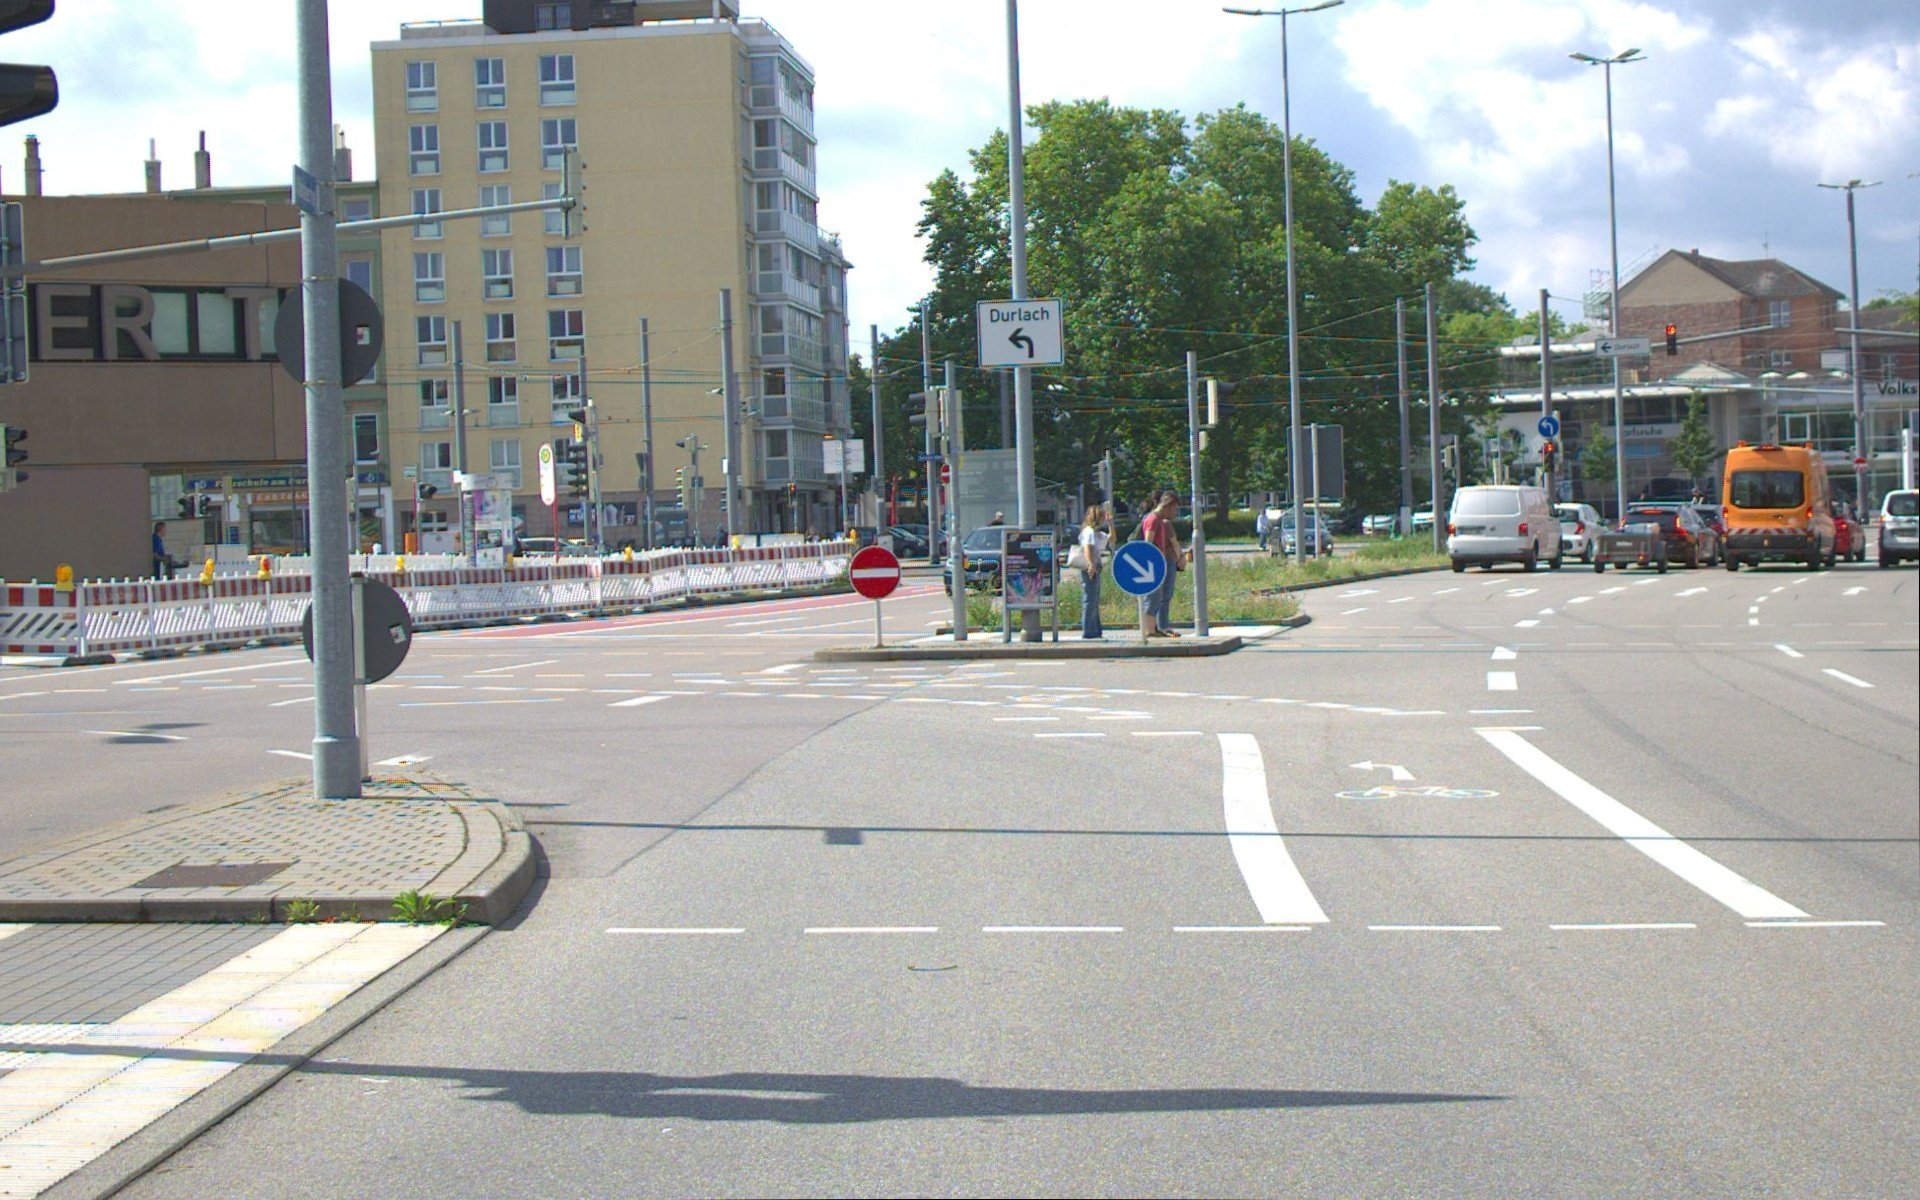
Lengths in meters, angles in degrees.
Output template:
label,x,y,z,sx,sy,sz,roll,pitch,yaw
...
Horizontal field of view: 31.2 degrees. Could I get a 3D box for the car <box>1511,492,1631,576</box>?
label,x,y,z,sx,sy,sz,roll,pitch,yaw
car,15.285,-1.672,85.831,1.993,1.932,4.634,-2,1,22

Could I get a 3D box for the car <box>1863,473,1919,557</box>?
label,x,y,z,sx,sy,sz,roll,pitch,yaw
car,21.739,-1.959,77.616,1.996,1.788,3.996,-2,1,23

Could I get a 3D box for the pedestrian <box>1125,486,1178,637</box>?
label,x,y,z,sx,sy,sz,roll,pitch,yaw
pedestrian,2.229,-0.449,39.880,0.525,1.727,0.623,-2,1,7

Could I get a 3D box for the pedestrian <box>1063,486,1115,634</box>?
label,x,y,z,sx,sy,sz,roll,pitch,yaw
pedestrian,1.535,-0.483,40.886,0.525,1.727,0.623,-2,1,7

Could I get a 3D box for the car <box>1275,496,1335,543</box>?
label,x,y,z,sx,sy,sz,roll,pitch,yaw
car,11.064,-2.608,110.578,1.662,1.475,4.062,1,2,2

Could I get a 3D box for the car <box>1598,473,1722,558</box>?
label,x,y,z,sx,sy,sz,roll,pitch,yaw
car,16.140,-1.963,79.098,1.996,1.820,3.996,-2,1,23

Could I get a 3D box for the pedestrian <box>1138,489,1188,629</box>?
label,x,y,z,sx,sy,sz,roll,pitch,yaw
pedestrian,2.482,-0.505,41.963,0.525,1.678,0.623,-2,1,7

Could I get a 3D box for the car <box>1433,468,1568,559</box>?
label,x,y,z,sx,sy,sz,roll,pitch,yaw
car,12.394,-1.999,78.603,2.008,1.960,4.634,-2,1,22

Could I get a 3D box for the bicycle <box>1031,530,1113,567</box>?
label,x,y,z,sx,sy,sz,roll,pitch,yaw
bicycle,3.518,-1.615,107.877,2.381,1.063,0.842,-1,1,18

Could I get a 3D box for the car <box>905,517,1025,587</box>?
label,x,y,z,sx,sy,sz,roll,pitch,yaw
car,0.131,-1.037,72.858,1.793,1.383,4.225,-1,1,10

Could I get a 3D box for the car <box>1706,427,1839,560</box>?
label,x,y,z,sx,sy,sz,roll,pitch,yaw
car,18.102,-2.376,76.462,2.132,2.771,4.634,-2,1,22

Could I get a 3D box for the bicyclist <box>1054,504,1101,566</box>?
label,x,y,z,sx,sy,sz,roll,pitch,yaw
bicyclist,3.689,-2.044,107.804,1.220,1.903,0.833,-1,1,18

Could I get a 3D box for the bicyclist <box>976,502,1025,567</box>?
label,x,y,z,sx,sy,sz,roll,pitch,yaw
bicyclist,1.208,-1.973,103.577,1.220,1.903,0.858,-1,1,18

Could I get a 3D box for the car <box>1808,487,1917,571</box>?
label,x,y,z,sx,sy,sz,roll,pitch,yaw
car,22.202,-1.767,84.460,1.993,1.932,4.634,-2,1,22

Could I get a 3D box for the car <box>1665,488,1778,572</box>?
label,x,y,z,sx,sy,sz,roll,pitch,yaw
car,19.012,-1.763,85.687,1.993,1.932,4.634,-2,1,22

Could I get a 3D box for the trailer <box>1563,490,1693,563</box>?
label,x,y,z,sx,sy,sz,roll,pitch,yaw
trailer,14.774,-1.632,75.936,1.996,1.472,3.996,-2,1,23
